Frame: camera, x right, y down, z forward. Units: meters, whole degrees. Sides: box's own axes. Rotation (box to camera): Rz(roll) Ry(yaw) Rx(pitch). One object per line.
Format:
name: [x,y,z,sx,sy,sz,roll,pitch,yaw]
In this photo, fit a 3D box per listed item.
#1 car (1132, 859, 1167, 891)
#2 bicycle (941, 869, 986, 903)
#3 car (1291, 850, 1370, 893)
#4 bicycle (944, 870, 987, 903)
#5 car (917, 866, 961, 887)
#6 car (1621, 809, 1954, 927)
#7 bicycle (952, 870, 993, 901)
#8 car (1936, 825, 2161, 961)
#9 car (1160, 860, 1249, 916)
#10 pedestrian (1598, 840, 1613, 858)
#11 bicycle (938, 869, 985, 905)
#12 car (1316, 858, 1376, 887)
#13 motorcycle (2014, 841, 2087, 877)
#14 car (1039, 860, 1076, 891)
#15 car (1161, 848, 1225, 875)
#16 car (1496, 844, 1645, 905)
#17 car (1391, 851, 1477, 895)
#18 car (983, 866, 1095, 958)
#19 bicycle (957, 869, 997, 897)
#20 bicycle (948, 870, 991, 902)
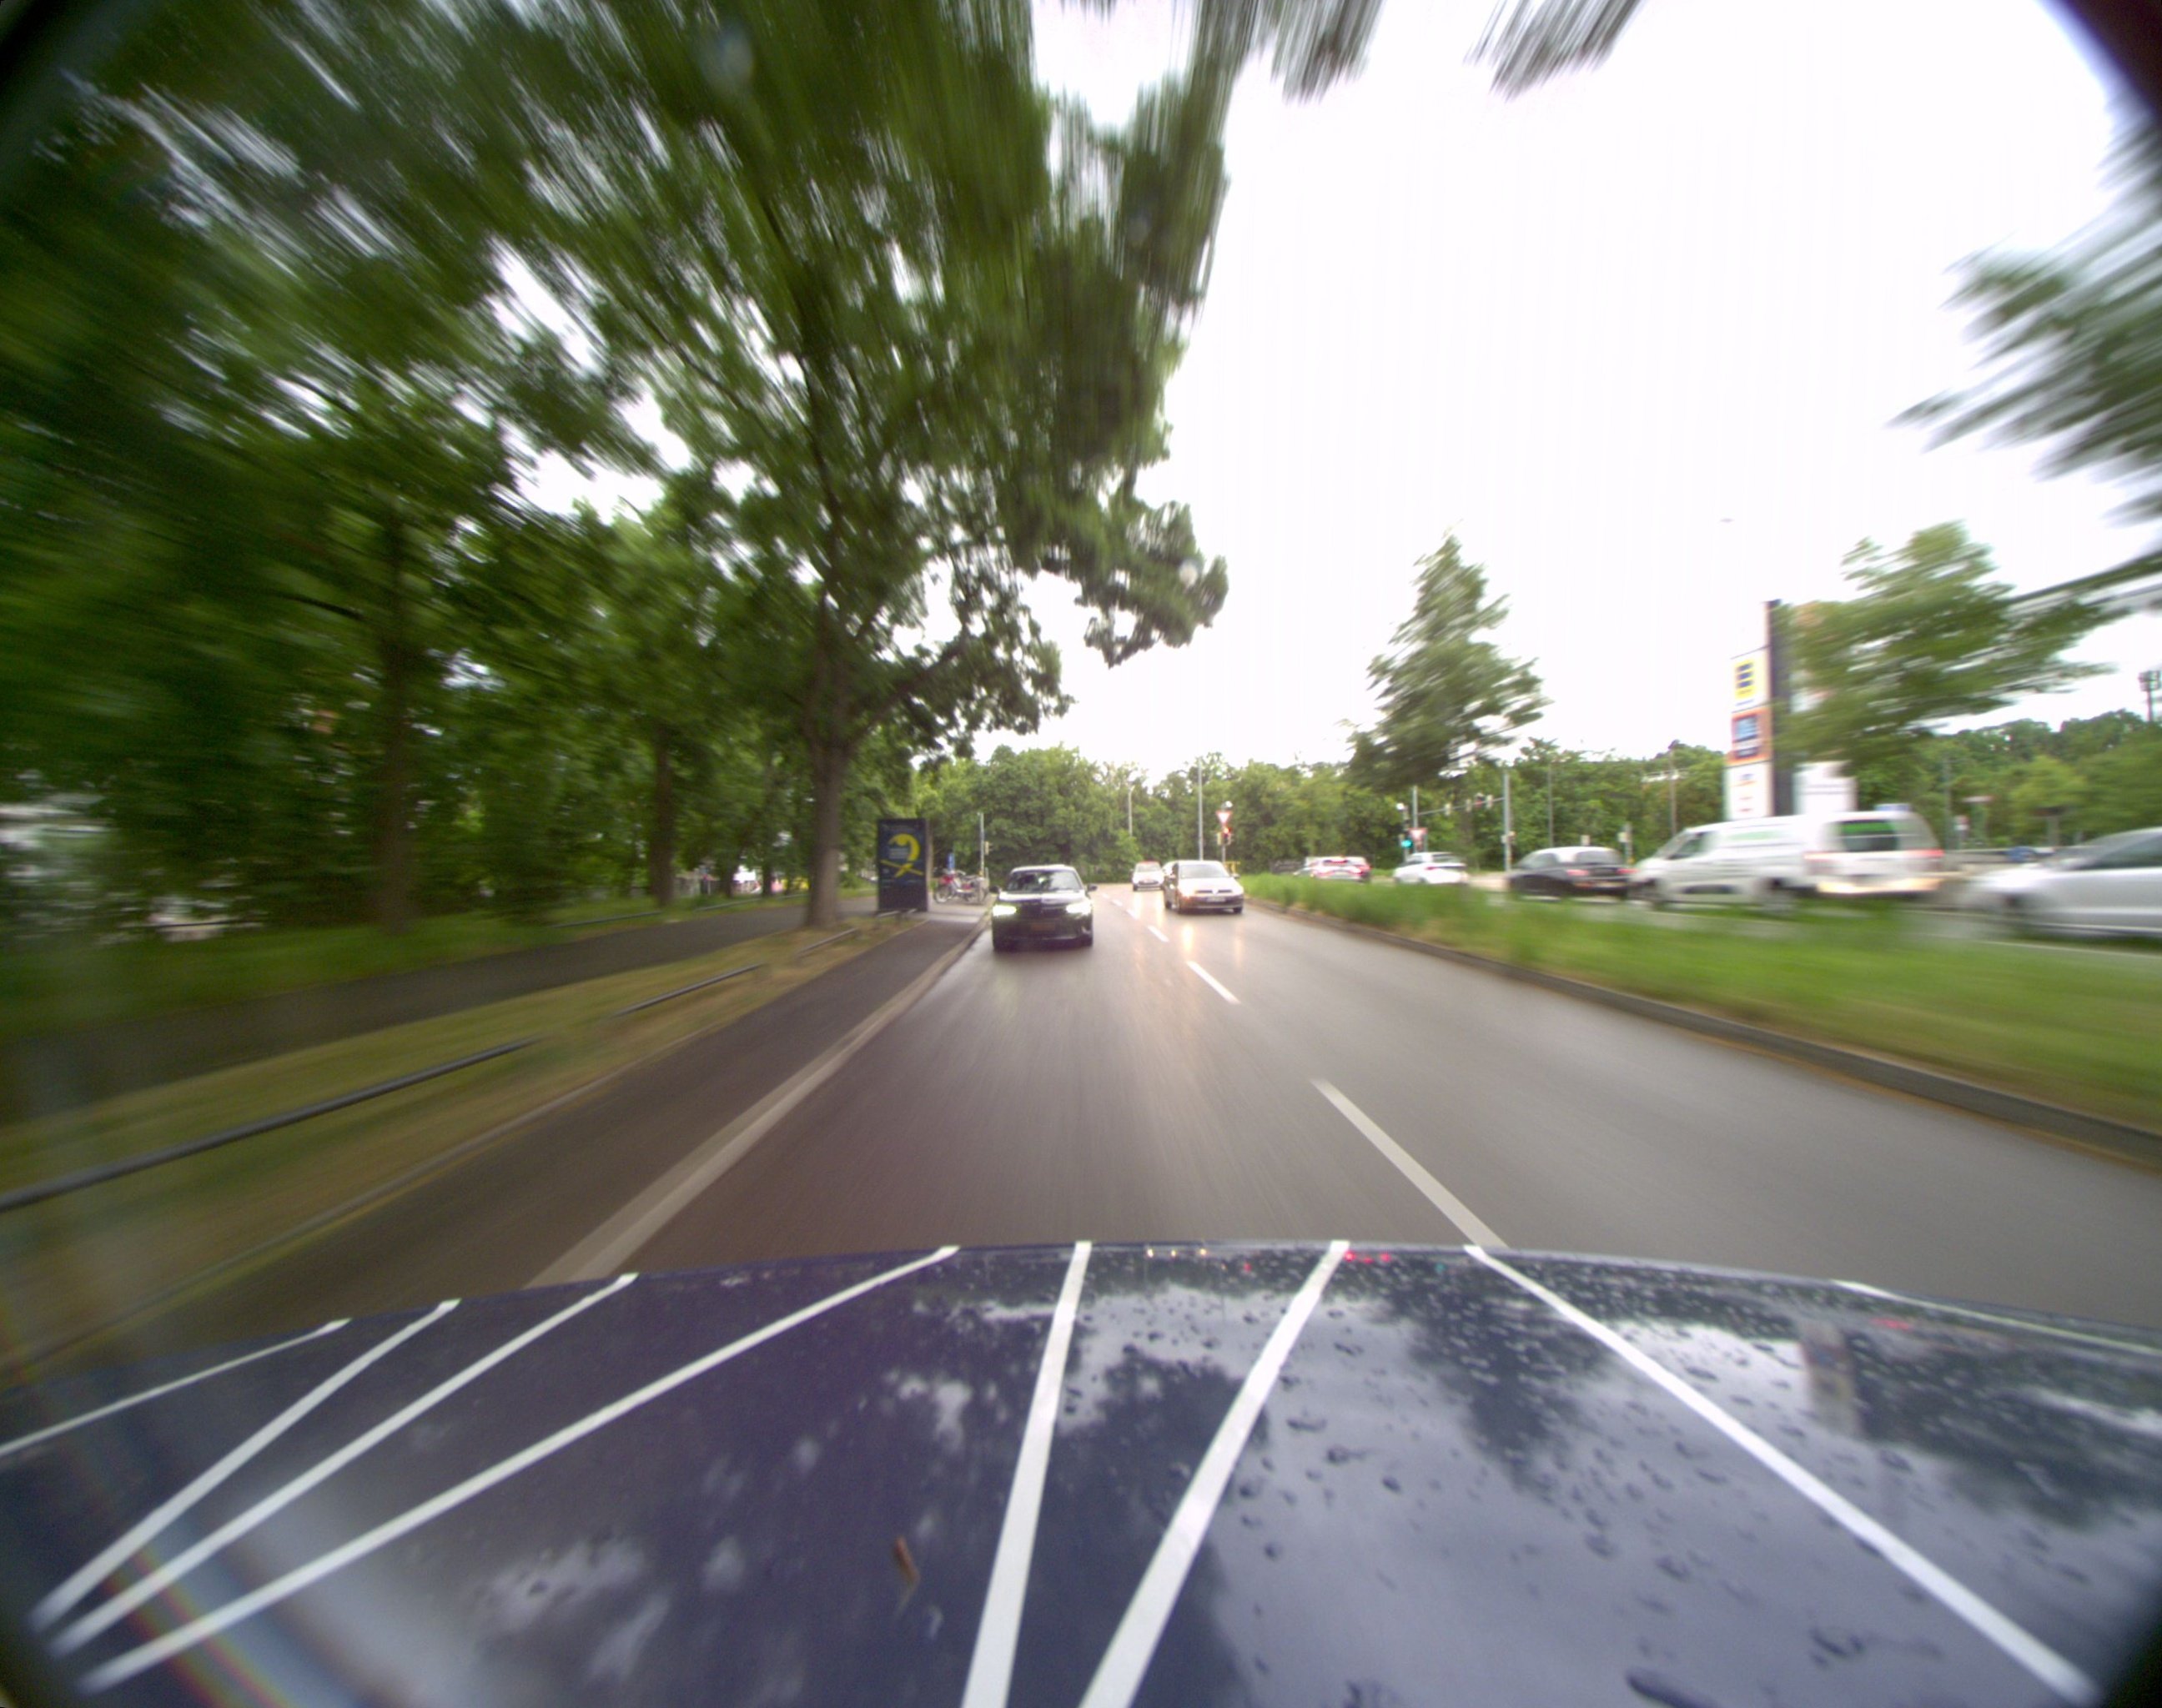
car: [3.596,1.075,39.899,1.669,1.520,3.659,-2,-1,5]
bicycle: [-4.048,1.104,26.269,1.490,1.125,0.556,2,0,-5]
car: [10.223,0.760,31.483,1.853,1.565,4.166,-2,-2,0]
bicycle: [-4.163,1.174,27.415,1.490,1.125,0.556,2,0,-5]
car: [-14.847,2.327,79.428,4.008,2.001,1.995,-1,-1,-45]
car: [12.825,0.300,14.359,1.848,1.791,4.775,-2,-2,2]
bicycle: [-4.139,1.179,28.947,1.490,1.125,0.556,2,0,-5]
car: [12.776,0.408,8.568,1.748,1.459,4.060,-2,0,2]
car: [3.427,0.919,21.797,1.904,1.431,4.001,-1,-1,1]
pedestrian: [50.934,-0.469,73.847,0.831,1.665,0.822,-2,-1,0]
bicycle: [-3.967,1.086,25.297,1.490,1.125,0.556,2,0,-5]
car: [14.313,1.014,41.256,1.830,1.510,4.065,0,-2,0]
motorcycle: [39.288,0.223,30.822,0.528,1.394,1.755,-2,-2,-6]
car: [-1.279,1.103,39.510,1.645,1.511,3.578,-2,-1,-5]
car: [7.916,0.534,53.783,4.004,1.761,1.904,-1,-1,-21]
car: [12.903,0.559,20.316,1.718,1.451,3.752,0,-2,3]
car: [13.319,0.744,28.891,1.654,1.566,3.704,0,-2,2]
car: [-0.703,1.002,14.936,1.804,1.422,4.520,-2,0,0]
bicycle: [-4.311,1.215,31.673,1.600,1.125,0.556,2,0,-5]
bicycle: [-4.125,1.181,28.192,1.490,1.125,0.556,2,0,-5]
